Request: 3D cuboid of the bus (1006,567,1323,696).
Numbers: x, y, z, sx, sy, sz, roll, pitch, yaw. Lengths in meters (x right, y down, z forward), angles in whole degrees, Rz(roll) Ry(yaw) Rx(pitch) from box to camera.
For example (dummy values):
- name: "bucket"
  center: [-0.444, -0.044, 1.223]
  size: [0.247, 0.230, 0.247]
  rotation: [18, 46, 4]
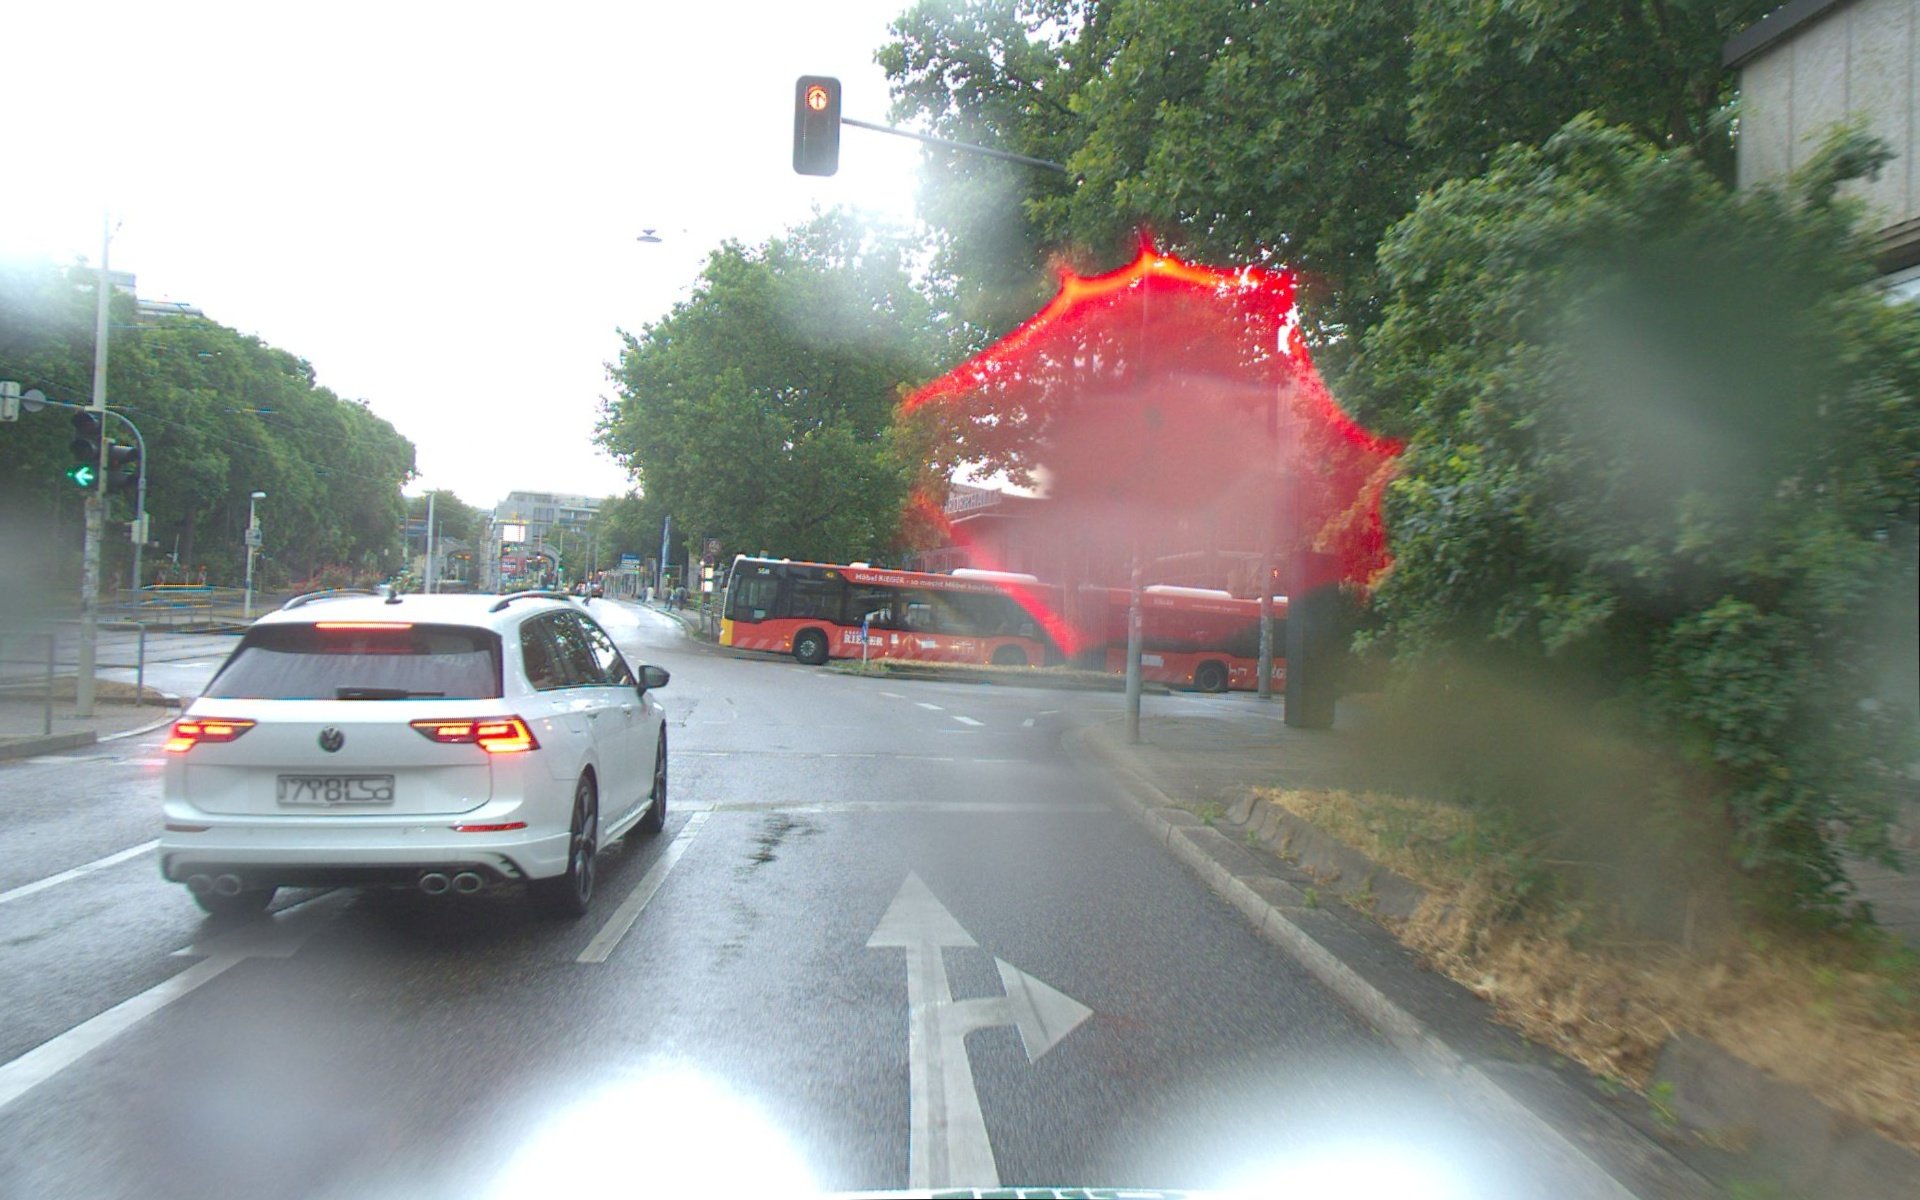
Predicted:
- name: "bus"
  center: [6.111, 0.961, 49.825]
  size: [8.989, 3.165, 2.657]
  rotation: [4, -1, -10]

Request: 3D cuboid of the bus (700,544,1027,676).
- name: "bus"
  center: [-2.811, 0.315, 48.963]
  size: [9.239, 3.165, 2.557]
  rotation: [4, -1, -3]

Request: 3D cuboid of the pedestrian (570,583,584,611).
- name: "pedestrian"
  center: [-48.051, -0.377, 207.425]
  size: [1.328, 3.308, 0.981]
  rotation: [4, -2, -8]

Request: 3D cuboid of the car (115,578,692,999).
- name: "car"
  center: [-2.512, 0.733, 8.588]
  size: [1.645, 1.604, 4.251]
  rotation: [2, 0, -2]

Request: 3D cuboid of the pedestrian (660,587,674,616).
- name: "pedestrian"
  center: [-19.524, 0.087, 110.288]
  size: [0.743, 1.855, 0.698]
  rotation: [4, -2, -15]

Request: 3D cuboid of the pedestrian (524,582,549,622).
- name: "pedestrian"
  center: [-18.067, 0.090, 70.602]
  size: [0.723, 1.668, 0.870]
  rotation: [4, -1, -1]

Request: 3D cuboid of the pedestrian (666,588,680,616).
- name: "pedestrian"
  center: [-19.379, 0.125, 111.600]
  size: [0.743, 1.855, 0.698]
  rotation: [4, -2, -15]
